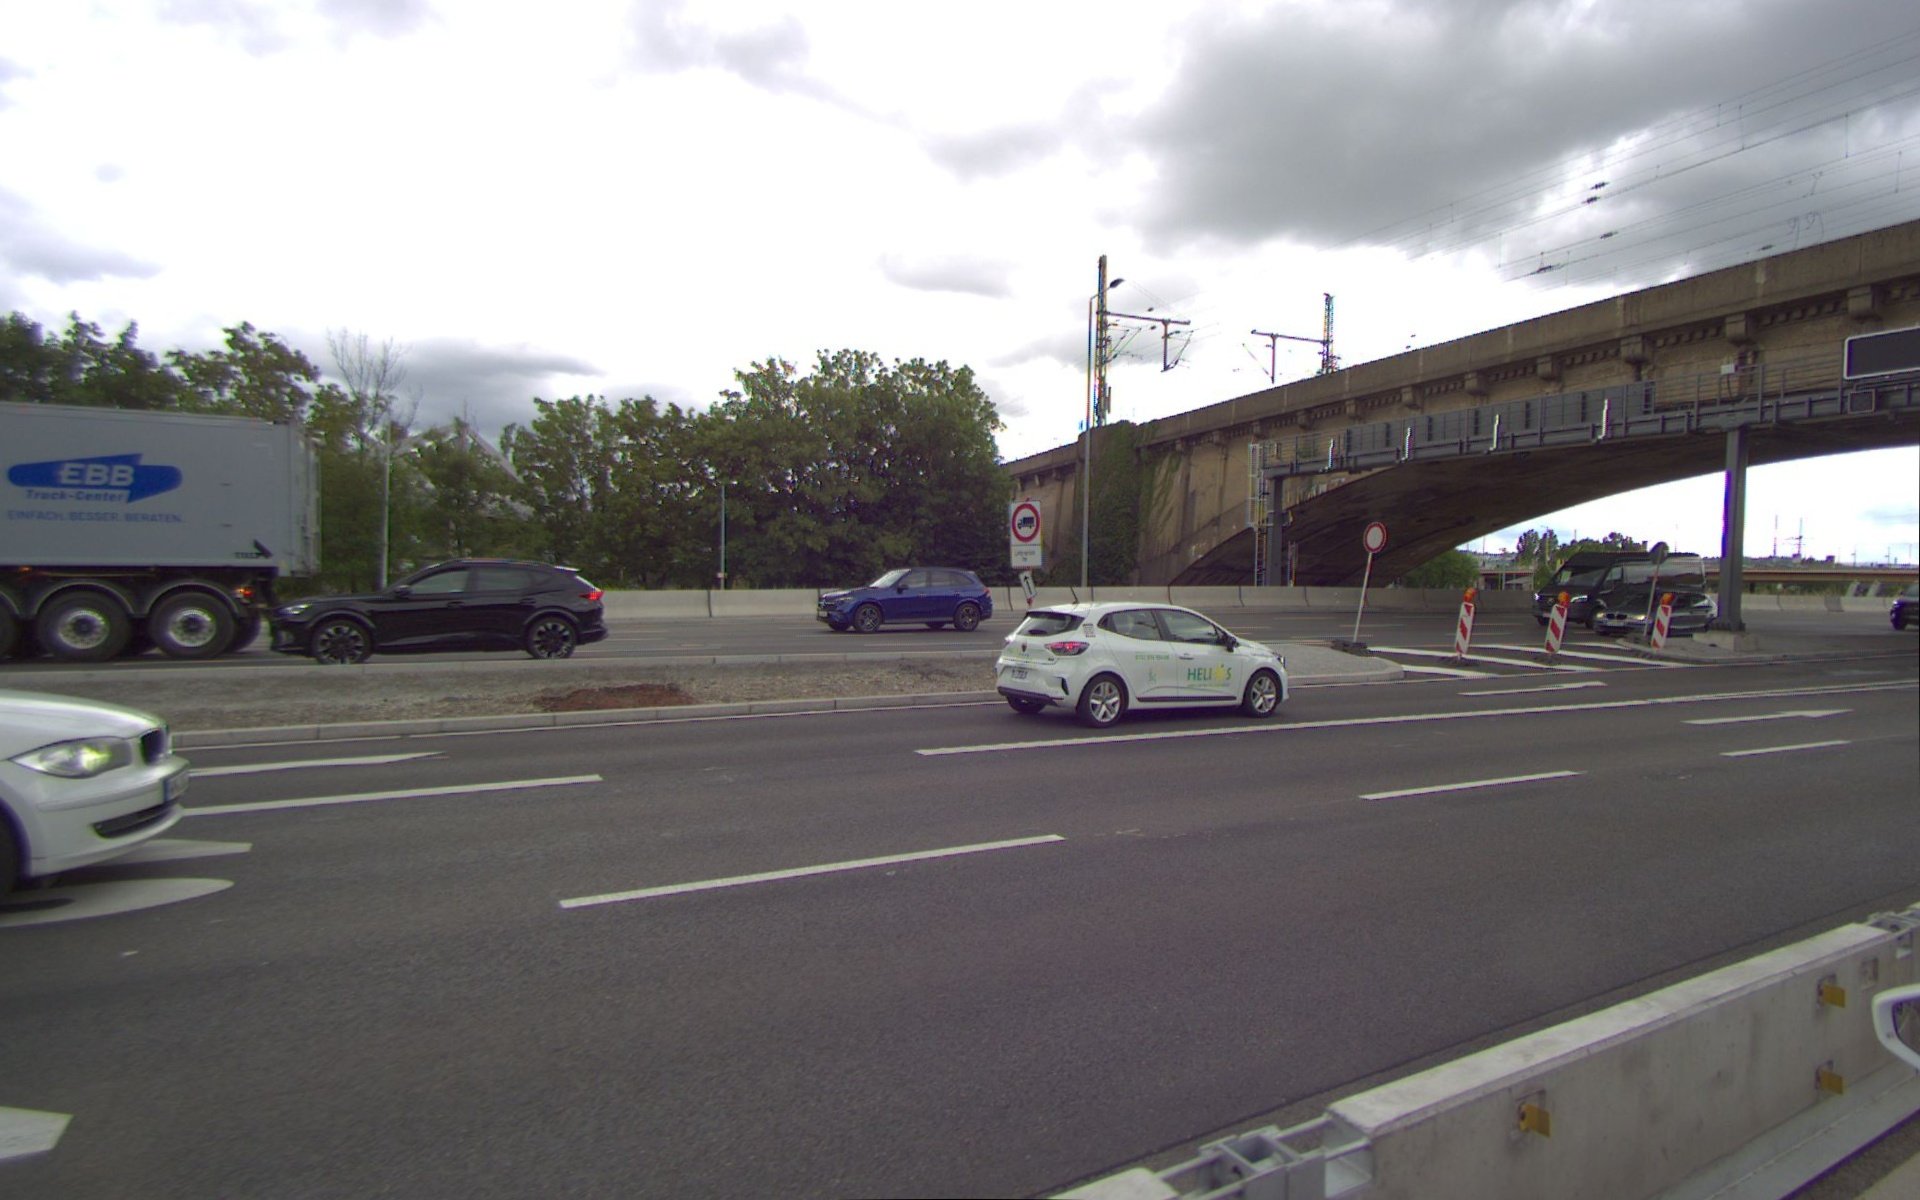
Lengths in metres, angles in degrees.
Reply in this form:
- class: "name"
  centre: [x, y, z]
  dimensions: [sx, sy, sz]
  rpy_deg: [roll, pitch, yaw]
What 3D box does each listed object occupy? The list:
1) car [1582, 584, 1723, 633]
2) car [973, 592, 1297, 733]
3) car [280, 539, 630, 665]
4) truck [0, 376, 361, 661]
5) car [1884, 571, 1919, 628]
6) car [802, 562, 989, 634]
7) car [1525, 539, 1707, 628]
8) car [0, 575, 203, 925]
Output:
- class: "car"
  centre: [20.532, 0.268, 29.757]
  dimensions: [4.207, 1.349, 1.876]
  rpy_deg: [1, 0, -31]
- class: "car"
  centre: [2.254, 0.673, 12.684]
  dimensions: [3.949, 1.504, 1.568]
  rpy_deg: [0, 2, -30]
- class: "car"
  centre: [-7.315, 0.057, 14.879]
  dimensions: [4.397, 1.642, 1.699]
  rpy_deg: [0, -1, -29]
- class: "truck"
  centre: [-16.857, -1.172, 14.544]
  dimensions: [13.808, 4.116, 2.888]
  rpy_deg: [-1, 2, -27]
- class: "car"
  centre: [38.624, 0.079, 39.373]
  dimensions: [5.125, 2.040, 1.955]
  rpy_deg: [4, -2, -28]
- class: "car"
  centre: [-1.622, -0.080, 25.697]
  dimensions: [4.436, 1.706, 1.876]
  rpy_deg: [0, 2, -31]
- class: "car"
  centre: [22.791, -0.500, 34.893]
  dimensions: [6.056, 2.814, 2.210]
  rpy_deg: [2, 0, -22]
- class: "car"
  centre: [-5.732, 0.604, 4.161]
  dimensions: [3.933, 1.452, 1.631]
  rpy_deg: [1, 1, -29]
